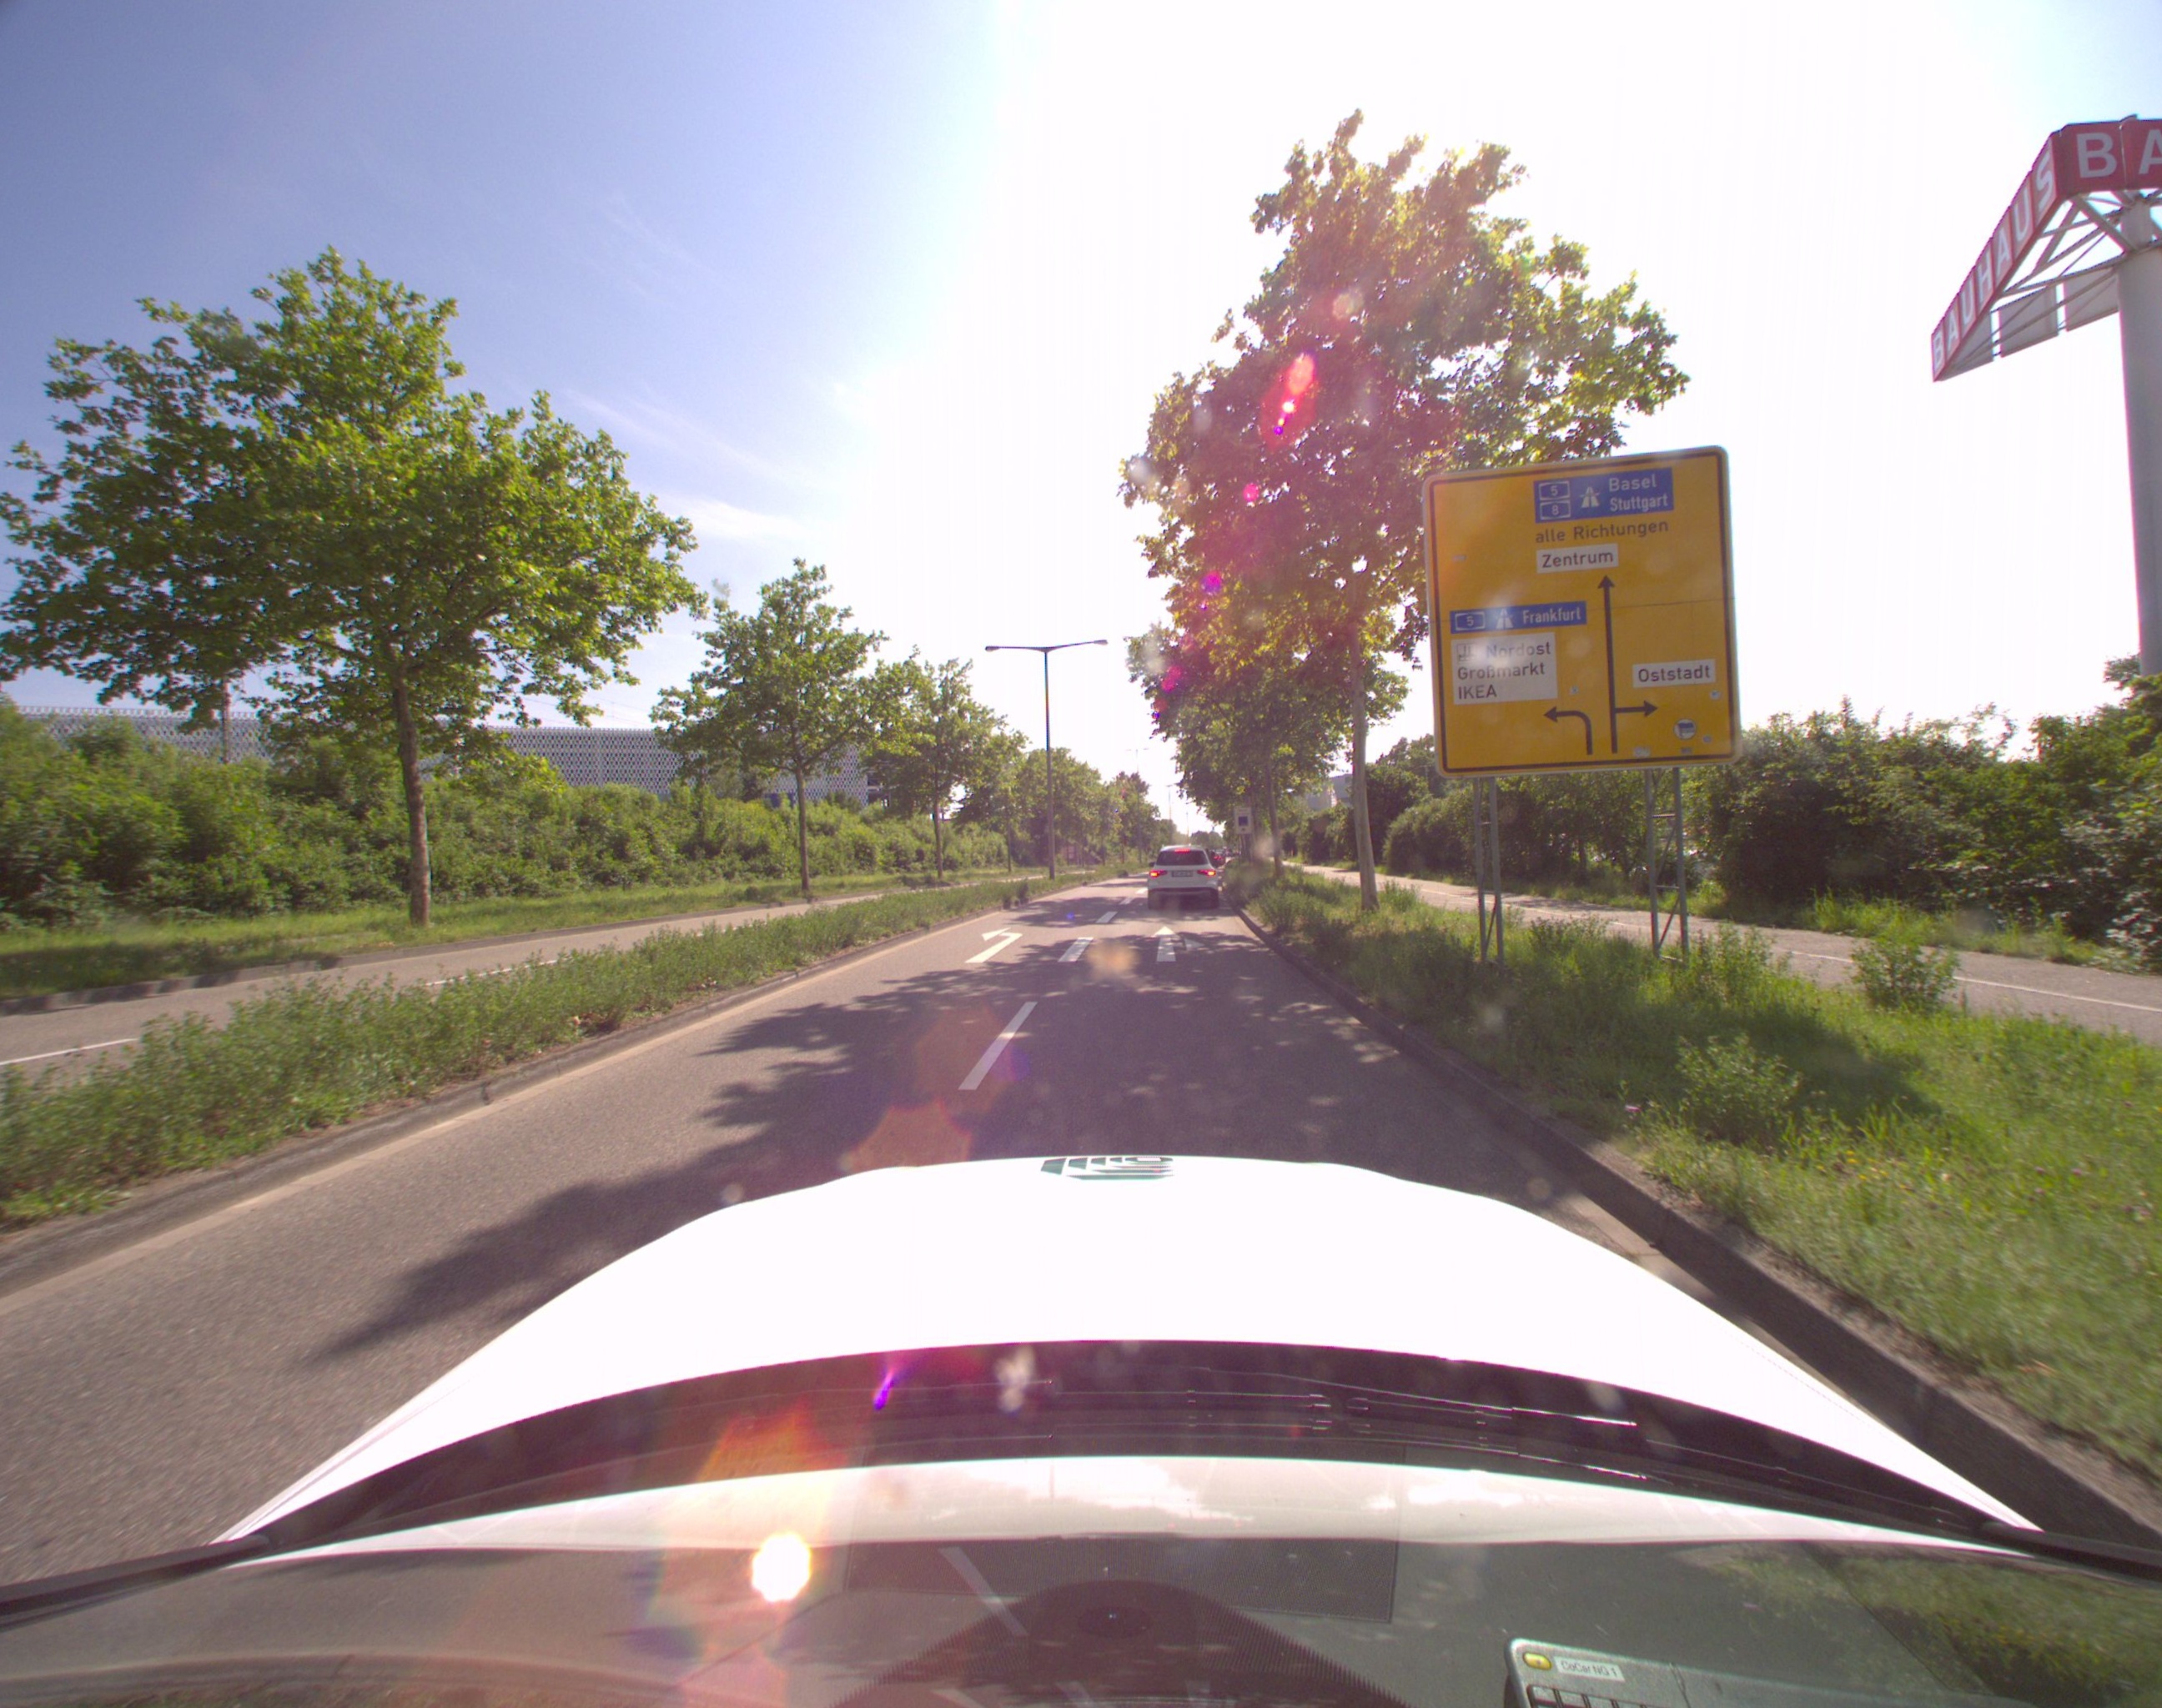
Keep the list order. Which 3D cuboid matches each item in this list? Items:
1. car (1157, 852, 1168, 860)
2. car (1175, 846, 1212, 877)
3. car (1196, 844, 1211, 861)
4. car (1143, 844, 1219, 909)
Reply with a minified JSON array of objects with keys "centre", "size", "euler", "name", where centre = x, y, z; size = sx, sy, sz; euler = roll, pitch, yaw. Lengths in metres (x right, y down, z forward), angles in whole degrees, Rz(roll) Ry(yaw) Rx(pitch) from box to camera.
[{"centre":[17.148,0.515,171.268],"size":[1.704,1.622,4.374],"euler":[-2,-1,11],"name":"car"},{"centre":[6.087,0.409,44.185],"size":[1.843,1.607,4.008],"euler":[-1,0,7],"name":"car"},{"centre":[19.414,-0.197,129.226],"size":[2.068,2.656,4.889],"euler":[-1,-1,11],"name":"car"},{"centre":[2.750,0.572,22.261],"size":[1.843,1.607,4.008],"euler":[-1,0,7],"name":"car"}]
